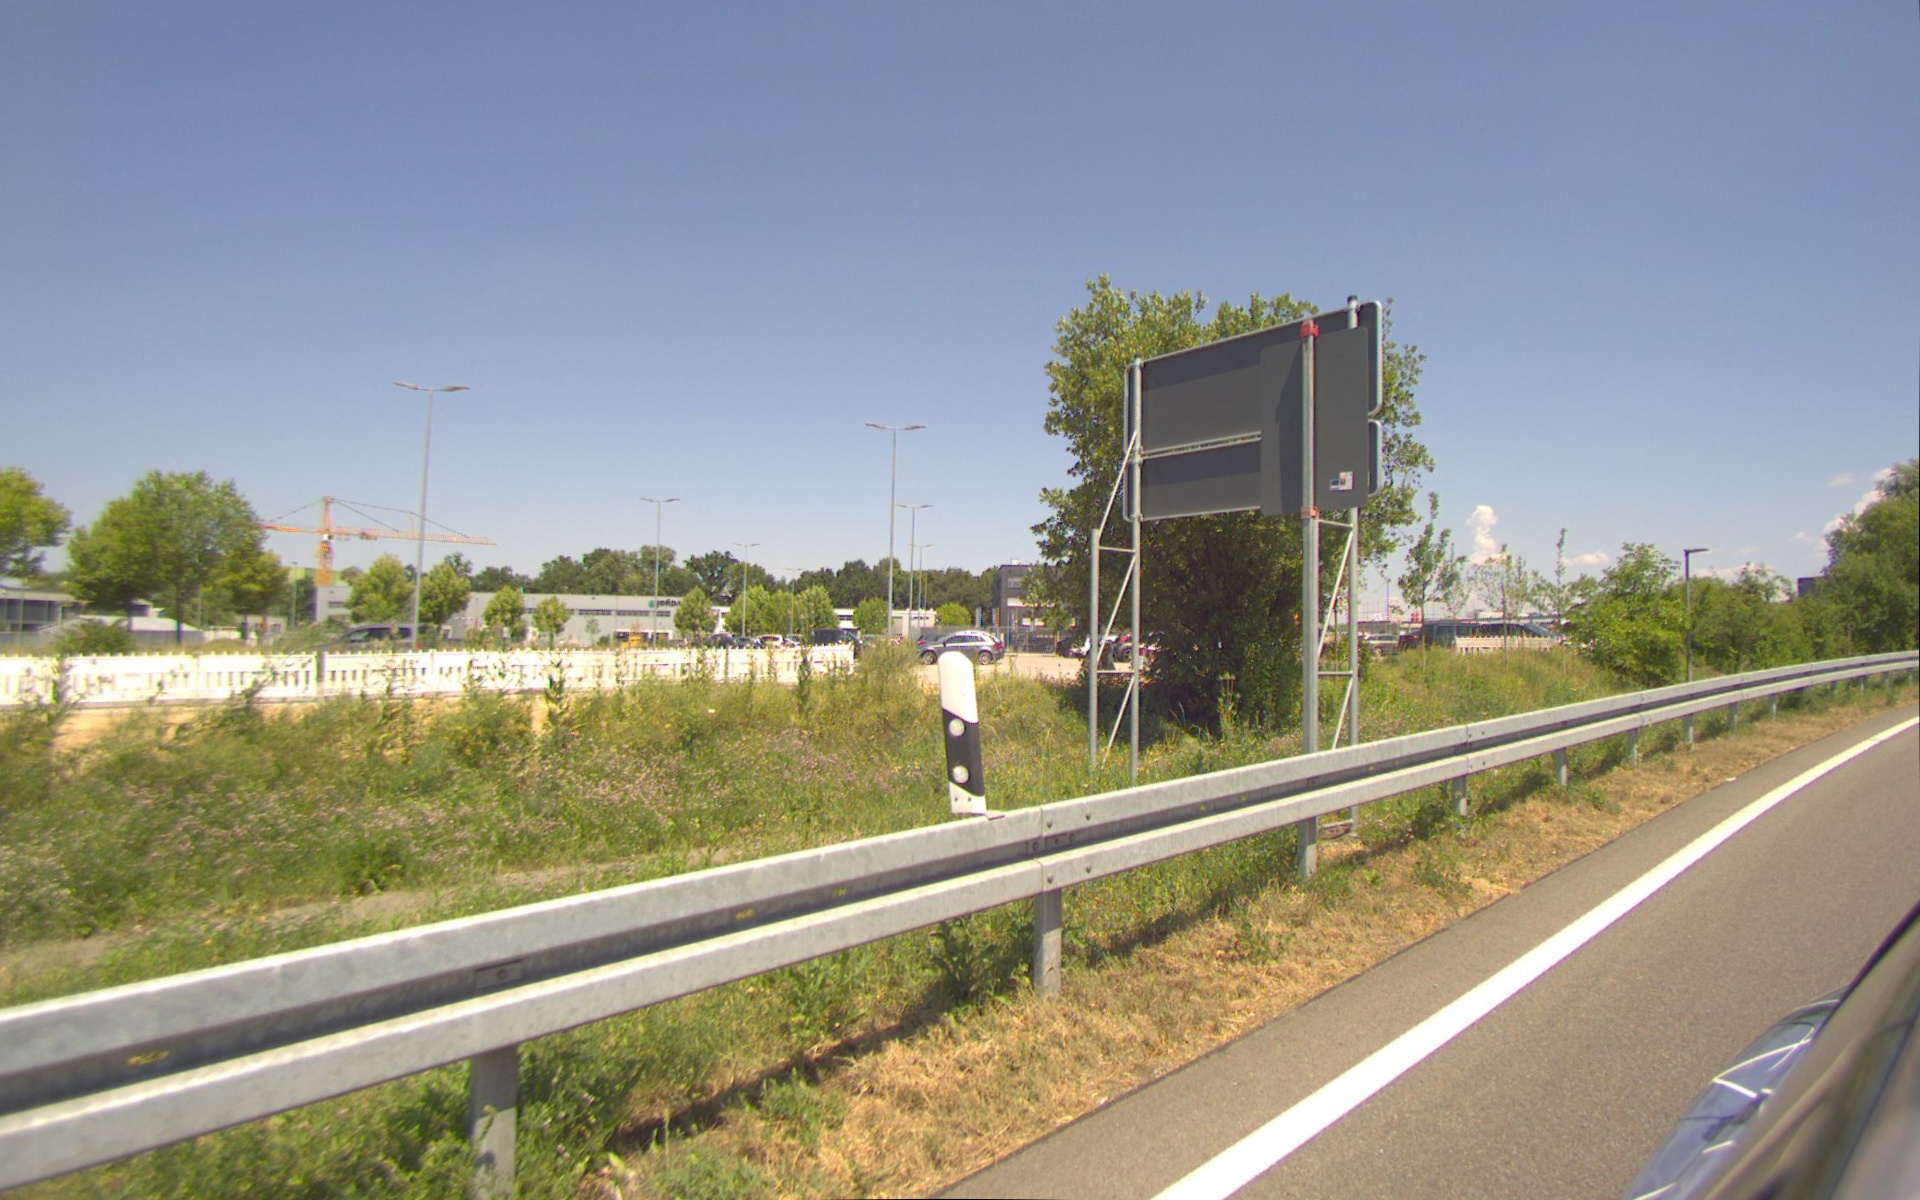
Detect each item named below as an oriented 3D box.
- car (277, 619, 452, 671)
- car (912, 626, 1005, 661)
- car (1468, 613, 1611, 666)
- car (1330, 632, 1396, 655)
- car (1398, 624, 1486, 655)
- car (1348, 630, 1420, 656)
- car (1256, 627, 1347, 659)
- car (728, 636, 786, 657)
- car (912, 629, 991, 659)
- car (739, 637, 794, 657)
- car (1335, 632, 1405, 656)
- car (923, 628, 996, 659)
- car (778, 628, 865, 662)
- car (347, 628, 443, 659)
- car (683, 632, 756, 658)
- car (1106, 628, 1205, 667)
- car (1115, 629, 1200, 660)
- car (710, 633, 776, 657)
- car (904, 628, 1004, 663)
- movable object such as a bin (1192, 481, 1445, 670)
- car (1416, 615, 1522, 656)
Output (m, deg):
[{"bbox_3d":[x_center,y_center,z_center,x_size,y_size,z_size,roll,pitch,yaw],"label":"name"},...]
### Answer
[{"bbox_3d":[-22.120,1.645,37.783,5.236,1.839,2.104,0,-1,-6],"label":"car"},{"bbox_3d":[-0.057,2.115,49.934,4.505,1.658,2.013,0,-1,3],"label":"car"},{"bbox_3d":[22.759,1.553,39.878,2.024,1.939,4.446,3,-4,-34],"label":"car"},{"bbox_3d":[28.698,3.082,72.170,3.922,1.588,1.948,0,-1,-2],"label":"car"},{"bbox_3d":[28.662,2.376,60.251,4.234,1.754,1.947,1,-3,-3],"label":"car"},{"bbox_3d":[27.911,2.824,66.712,3.922,1.588,1.948,0,-1,-2],"label":"car"},{"bbox_3d":[17.670,2.201,52.525,4.010,1.588,1.947,0,-1,-1],"label":"car"},{"bbox_3d":[-17.522,3.993,87.456,4.462,1.707,2.098,-1,-1,7],"label":"car"},{"bbox_3d":[-0.470,2.485,57.905,4.437,1.658,1.946,0,-1,3],"label":"car"},{"bbox_3d":[-17.336,4.179,90.812,4.462,1.707,2.098,-1,-1,7],"label":"car"},{"bbox_3d":[28.015,2.994,69.235,3.922,1.588,1.948,0,-1,-2],"label":"car"},{"bbox_3d":[-0.003,2.347,55.135,3.926,1.658,1.946,0,-1,3],"label":"car"},{"bbox_3d":[-7.378,2.409,54.270,4.453,1.707,2.102,-1,-1,-1],"label":"car"},{"bbox_3d":[-32.826,2.526,58.865,4.457,1.707,2.100,-1,-1,3],"label":"car"},{"bbox_3d":[-16.633,3.073,70.059,4.462,1.707,2.098,-1,-1,7],"label":"car"},{"bbox_3d":[8.711,2.107,45.300,3.921,1.694,2.001,0,-1,-4],"label":"car"},{"bbox_3d":[10.536,2.374,54.110,4.075,1.563,2.001,0,0,-2],"label":"car"},{"bbox_3d":[-16.305,3.407,76.189,4.462,1.707,2.098,-1,-1,7],"label":"car"},{"bbox_3d":[-0.257,2.088,46.957,4.527,1.527,1.999,0,0,1],"label":"car"},{"bbox_3d":[11.865,-0.481,33.050,9.056,5.331,3.432,4,-4,-38],"label":"movable object such as a bin"},{"bbox_3d":[29.212,2.076,58.167,5.051,2.199,2.000,1,-3,-3],"label":"car"}]
